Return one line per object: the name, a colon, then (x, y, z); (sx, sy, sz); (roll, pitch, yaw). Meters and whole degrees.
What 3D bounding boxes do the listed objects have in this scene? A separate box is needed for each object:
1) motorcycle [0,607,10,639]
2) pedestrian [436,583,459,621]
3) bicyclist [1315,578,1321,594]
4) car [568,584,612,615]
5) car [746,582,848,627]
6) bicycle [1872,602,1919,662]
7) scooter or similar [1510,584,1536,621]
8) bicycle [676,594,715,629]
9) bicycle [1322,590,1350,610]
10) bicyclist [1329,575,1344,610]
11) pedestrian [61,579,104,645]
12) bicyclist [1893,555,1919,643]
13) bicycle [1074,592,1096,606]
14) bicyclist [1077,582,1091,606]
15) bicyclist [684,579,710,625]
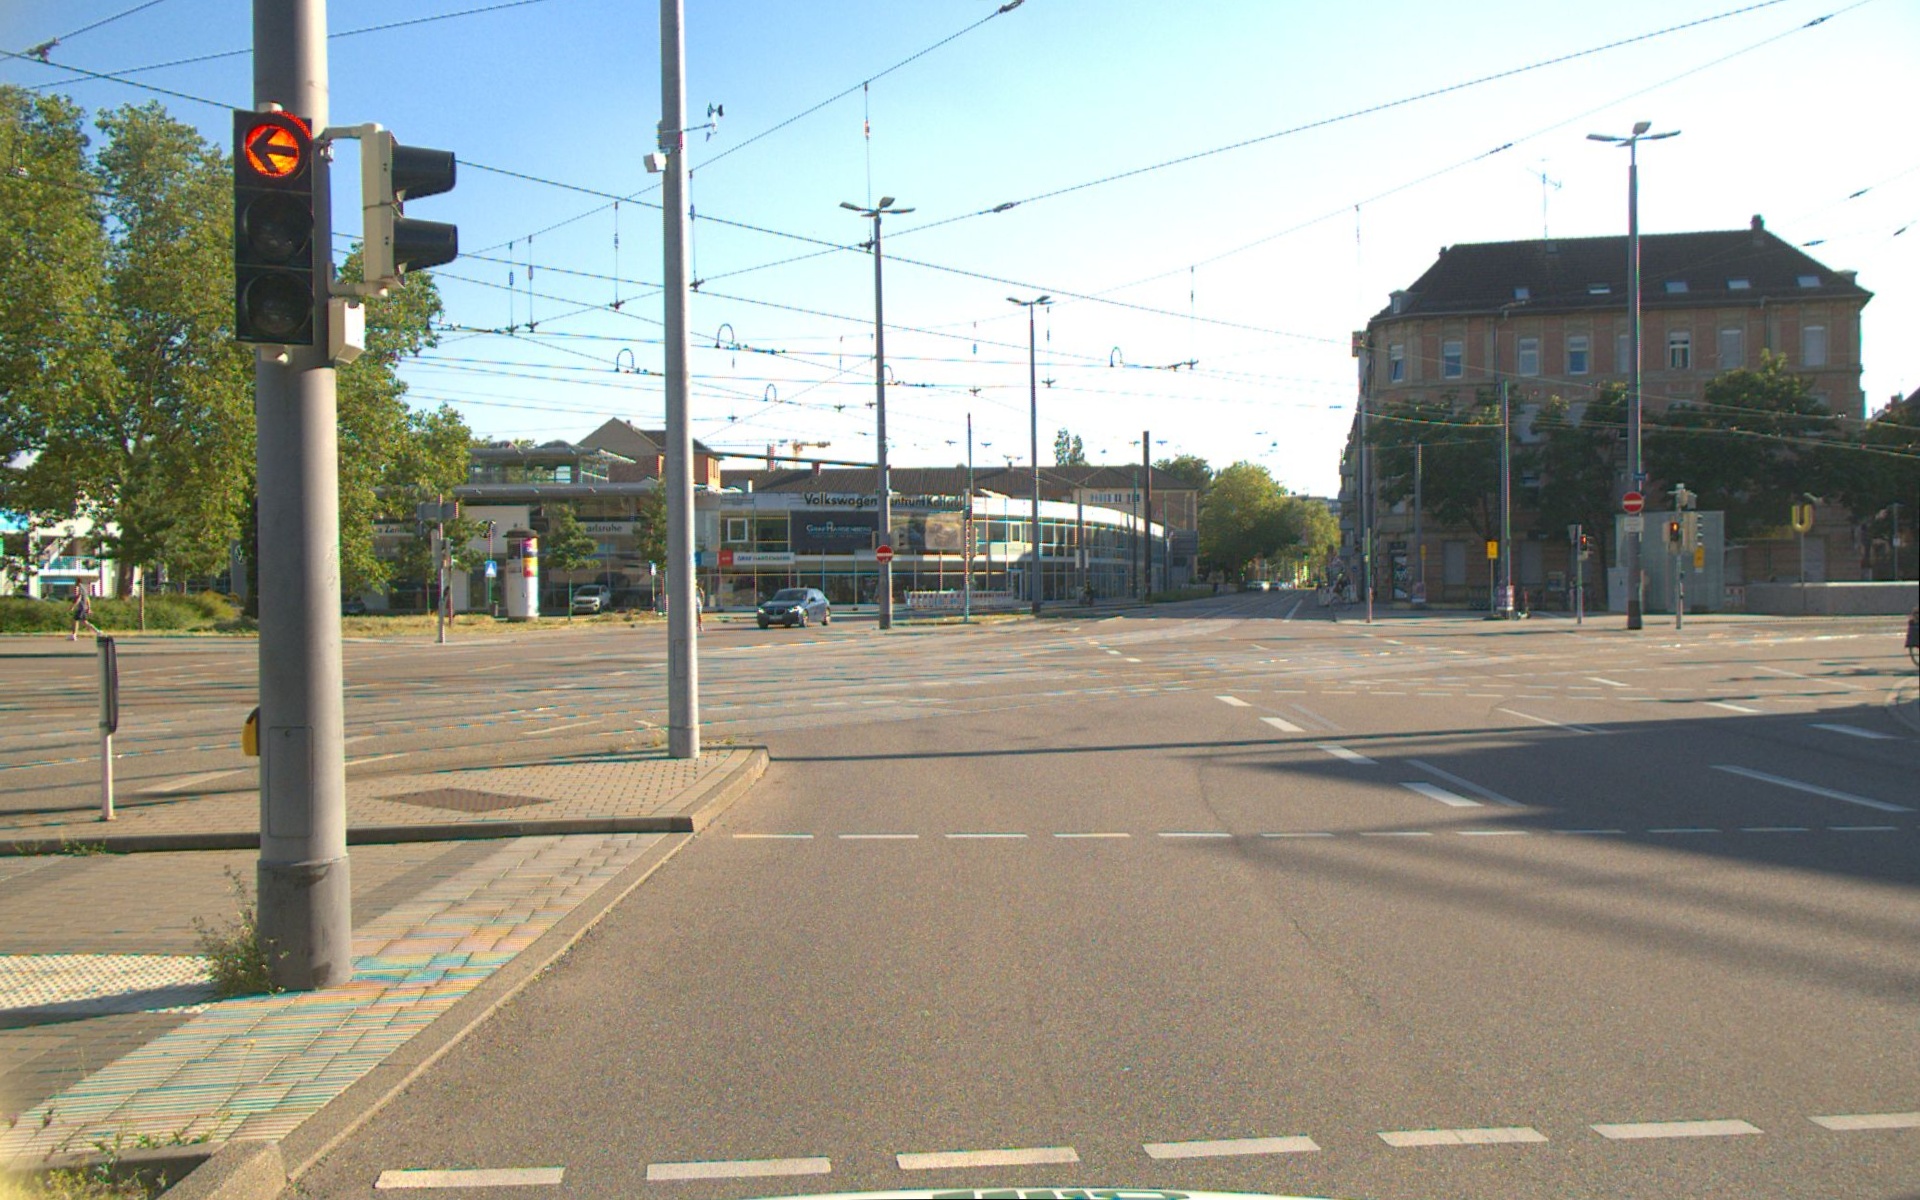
motorcycle: (-28.925, 0.673, 48.513); (1.748, 0.930, 0.675); (1, 0, -21)
pedestrian: (-23.464, 0.083, 75.724); (0.839, 1.723, 0.496); (1, -1, -3)
bicyclist: (26.506, -1.023, 122.419); (0.399, 1.136, 0.399); (1, -1, 11)
car: (-22.135, -0.022, 99.055); (1.954, 1.780, 3.997); (1, 0, -4)
car: (-6.022, 0.168, 61.626); (1.954, 1.613, 3.996); (1, 0, 26)
bicycle: (17.657, 0.596, 30.108); (0.524, 1.067, 2.316); (1, 1, -9)
scooter or similar: (21.567, 0.098, 63.384); (0.769, 1.400, 1.910); (1, 0, 13)
bicycle: (-9.504, 0.418, 59.523); (0.599, 1.210, 1.870); (1, 0, 17)
bicycle: (18.876, 0.001, 83.006); (0.647, 0.969, 1.592); (1, 0, -18)
bicyclist: (18.893, -0.392, 83.008); (0.510, 1.730, 0.513); (1, -1, -18)
pedestrian: (-25.682, 0.354, 48.424); (0.777, 1.919, 0.759); (1, -1, 6)
bicyclist: (17.646, -0.015, 30.267); (0.505, 1.584, 0.945); (1, 0, -9)
bicycle: (8.483, -0.044, 111.810); (0.626, 0.885, 2.231); (1, 0, 29)
bicyclist: (8.379, -0.397, 111.638); (0.641, 1.600, 0.921); (1, -1, 28)
bicyclist: (-9.477, 0.080, 59.593); (0.585, 1.644, 0.823); (1, -1, 16)
